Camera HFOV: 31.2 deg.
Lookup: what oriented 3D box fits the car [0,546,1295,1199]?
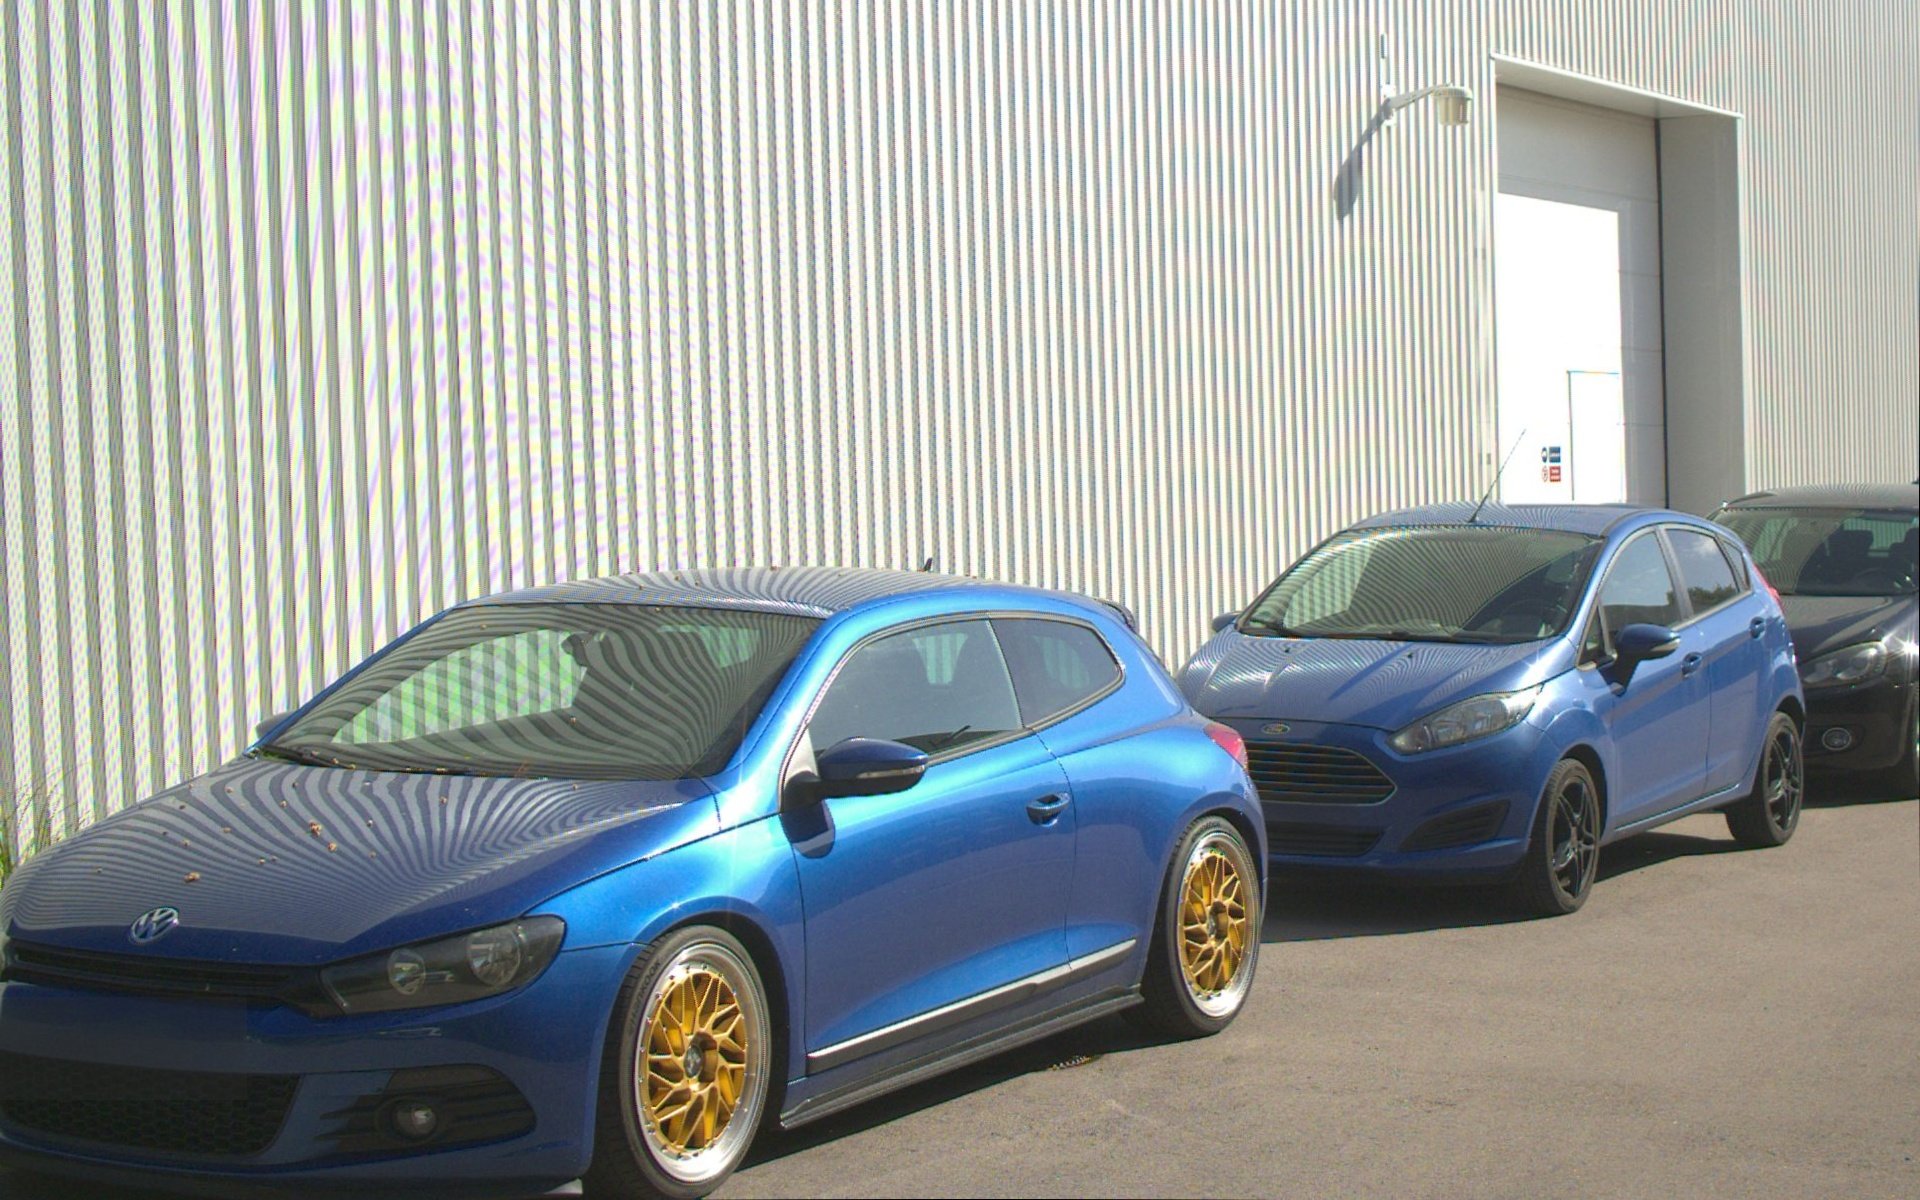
[{"bbox_3d":[-0.740,0.594,8.888,1.671,1.345,3.947,1,3,31],"label":"car"}]

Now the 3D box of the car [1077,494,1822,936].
[{"bbox_3d":[2.077,0.332,13.647,1.622,1.442,3.758,1,3,30],"label":"car"}]

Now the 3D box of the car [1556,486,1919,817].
[{"bbox_3d":[4.632,0.170,17.843,1.653,1.441,3.871,3,4,32],"label":"car"}]
